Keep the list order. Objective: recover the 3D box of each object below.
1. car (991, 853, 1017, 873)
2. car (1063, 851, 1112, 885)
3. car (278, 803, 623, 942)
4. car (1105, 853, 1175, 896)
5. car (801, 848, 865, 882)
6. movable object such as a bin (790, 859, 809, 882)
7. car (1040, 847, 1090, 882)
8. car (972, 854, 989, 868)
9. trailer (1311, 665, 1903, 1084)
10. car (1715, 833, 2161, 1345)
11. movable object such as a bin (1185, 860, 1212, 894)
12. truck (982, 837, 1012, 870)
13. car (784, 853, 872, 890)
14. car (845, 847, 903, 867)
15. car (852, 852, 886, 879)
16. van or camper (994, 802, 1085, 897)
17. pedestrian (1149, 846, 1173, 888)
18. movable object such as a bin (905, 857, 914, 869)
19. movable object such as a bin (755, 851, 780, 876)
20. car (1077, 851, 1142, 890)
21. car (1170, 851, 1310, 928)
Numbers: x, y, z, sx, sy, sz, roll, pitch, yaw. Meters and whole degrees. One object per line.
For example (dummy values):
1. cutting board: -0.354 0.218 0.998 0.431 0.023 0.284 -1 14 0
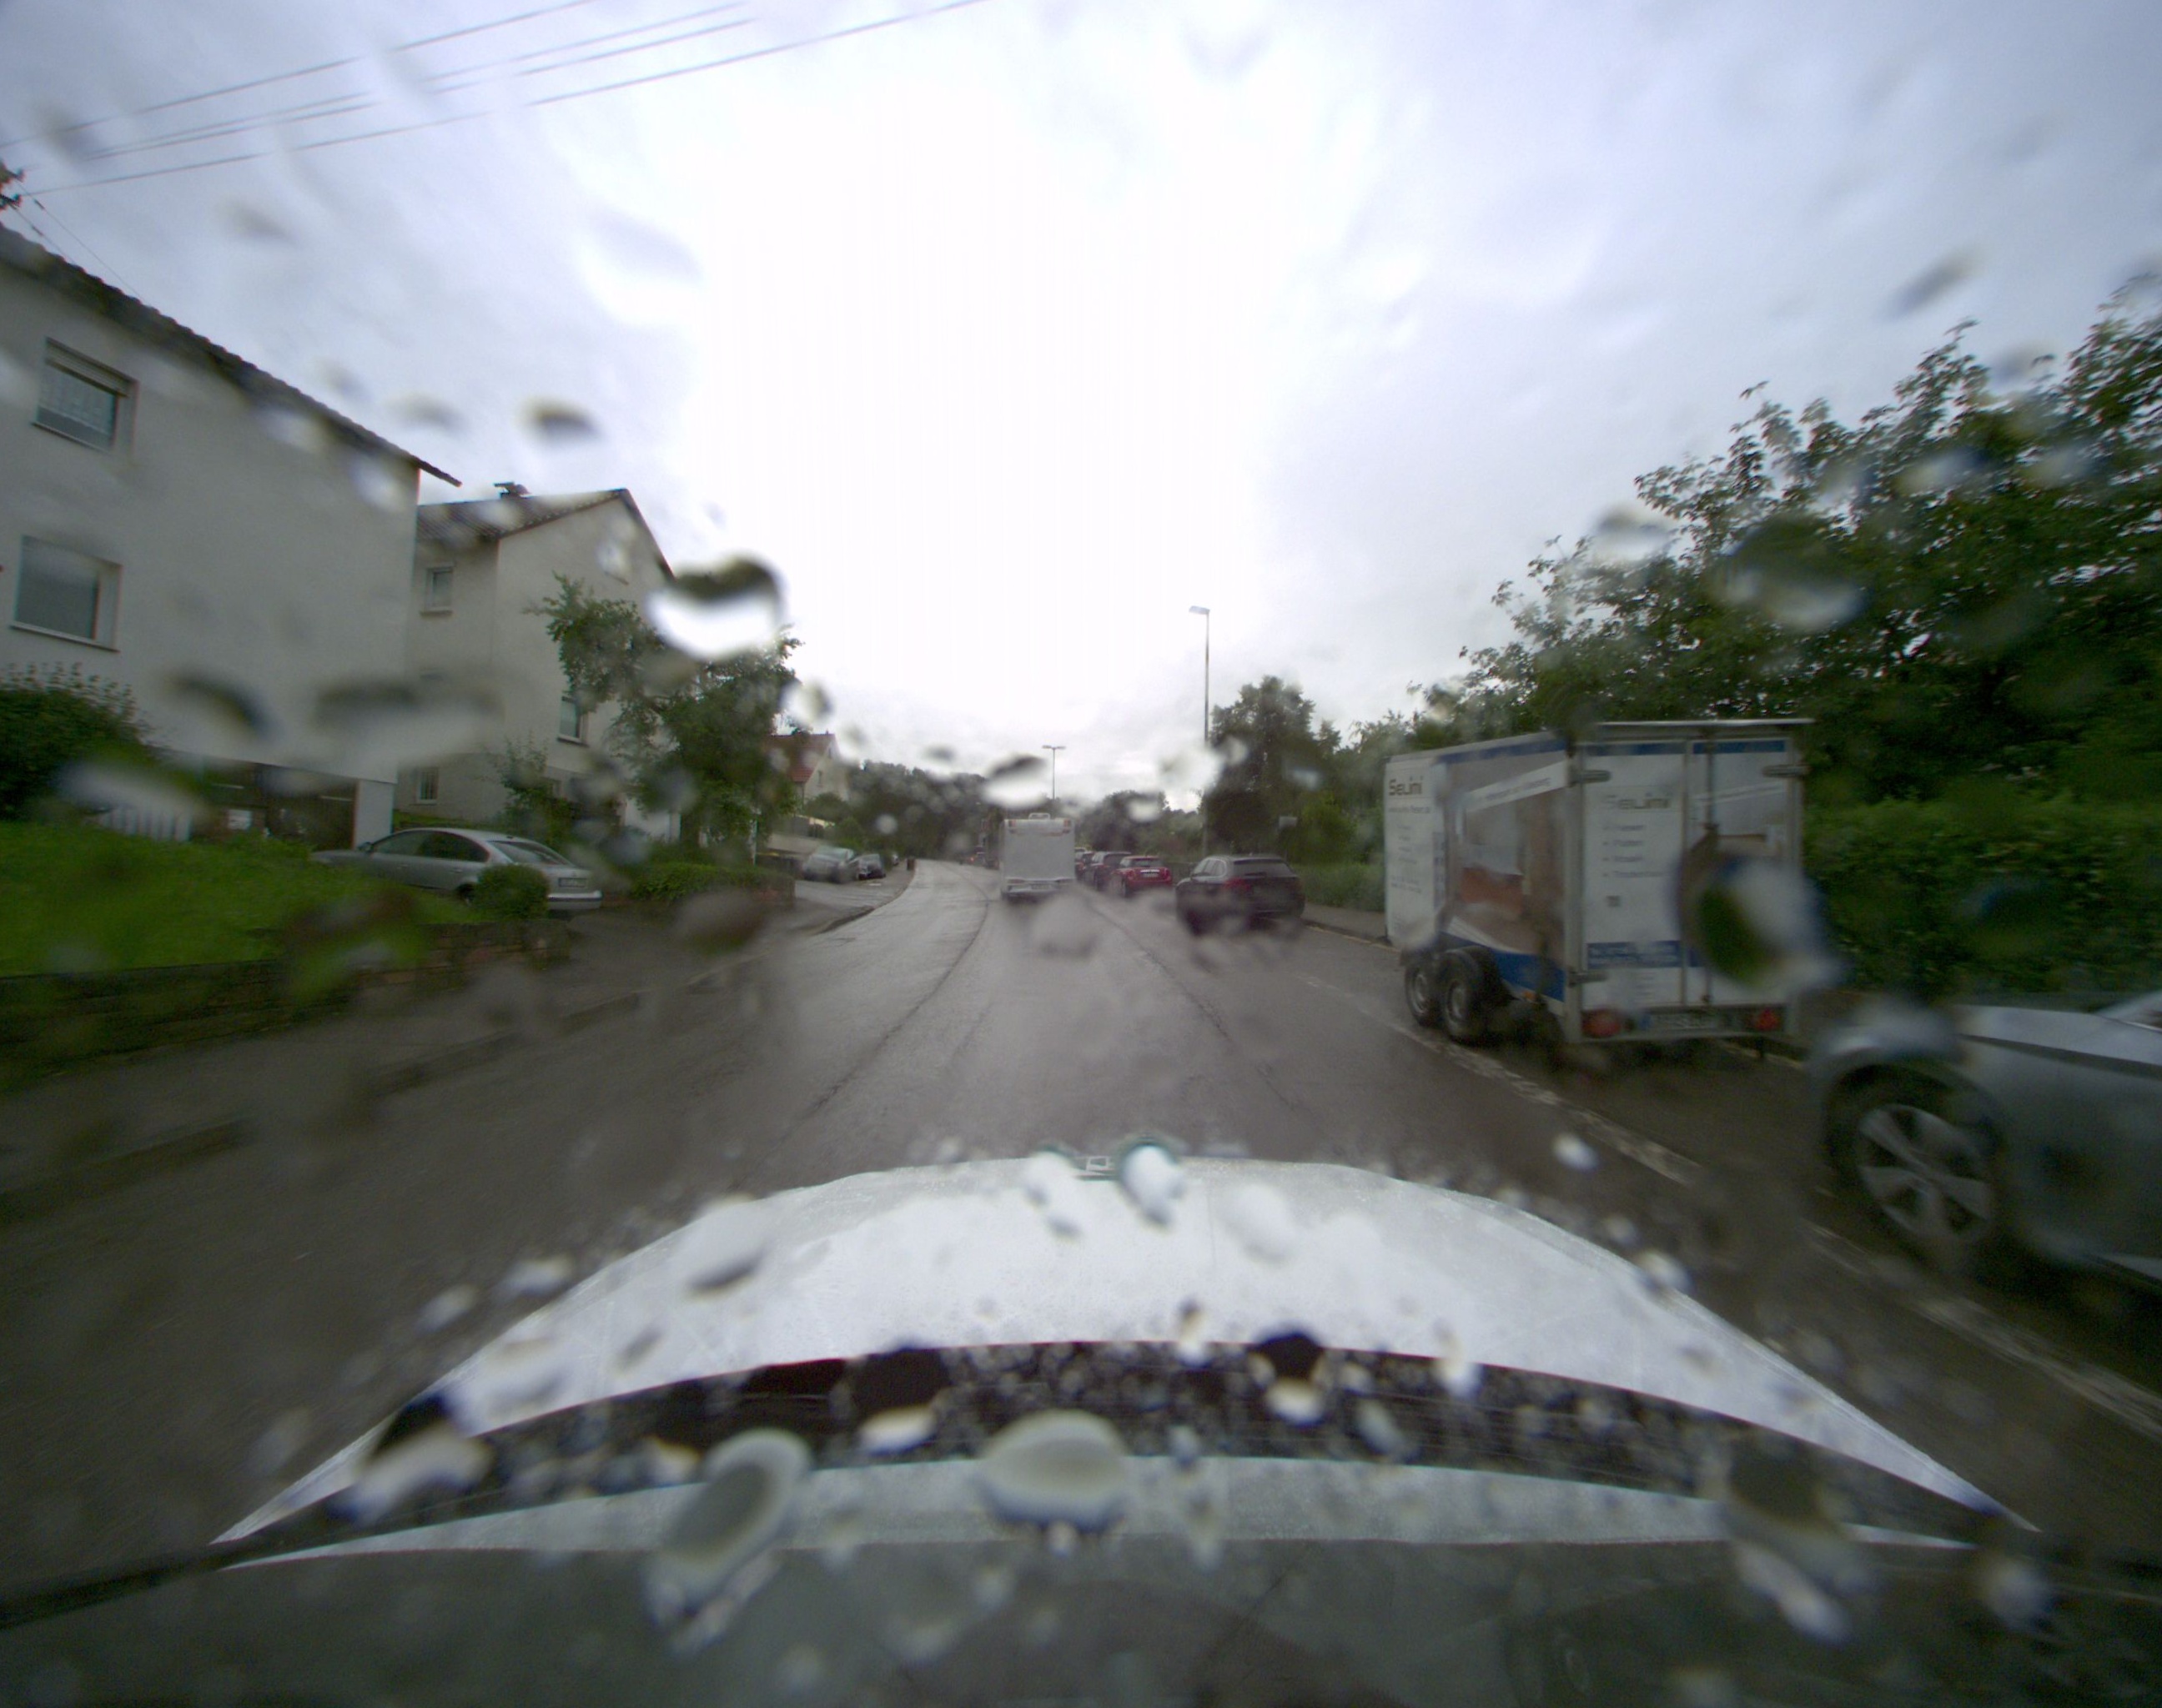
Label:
1. car: -6.605 0.775 69.472 1.760 1.604 4.647 0 -1 -12
2. car: 0.261 0.677 40.161 1.645 1.541 4.338 0 -1 -10
3. car: -9.936 0.270 12.996 4.228 1.431 1.770 9 0 9
4. car: 2.073 0.713 29.623 1.735 1.414 3.840 -1 -1 -9
5. car: -11.165 0.501 36.948 1.762 1.376 4.241 3 -1 -4
6. movable object such as a bin: -13.412 0.793 38.846 0.648 1.078 0.559 -1 0 10
7. car: -0.968 0.591 45.898 1.851 1.882 4.888 0 -1 -13
8. car: -12.618 0.864 101.707 1.936 1.672 4.679 -1 0 -9
9. trailer: 3.882 0.136 7.538 1.943 2.457 5.433 -1 -1 0
10. car: 3.850 0.639 1.538 1.741 1.424 4.705 -1 -1 2
11. movable object such as a bin: 3.907 0.756 27.051 0.712 1.093 0.847 0 0 -7
12. truck: -8.965 -0.013 86.067 2.437 3.335 7.934 0 -1 -11
13. car: -12.984 0.877 41.907 3.811 1.477 1.805 -6 -1 3
14. car: -20.361 0.326 80.296 5.060 1.944 2.144 -1 -1 5
15. car: -13.191 0.716 50.899 1.804 1.597 4.400 0 -1 -11
16. van or camper: -1.588 -0.030 28.192 2.614 2.853 6.013 1 -2 -8
17. pedestrian: 3.123 0.507 31.844 0.710 1.635 0.711 0 0 28
18. movable object such as a bin: -13.990 0.757 66.462 0.603 0.928 0.561 2 -1 -16
19. movable object such as a bin: -13.562 0.405 35.208 0.746 1.057 0.702 -1 -1 4
20. car: 1.132 0.686 34.606 1.816 1.506 4.707 0 -1 -10
21. car: 3.332 0.695 18.088 1.790 1.459 4.779 -1 0 -5
